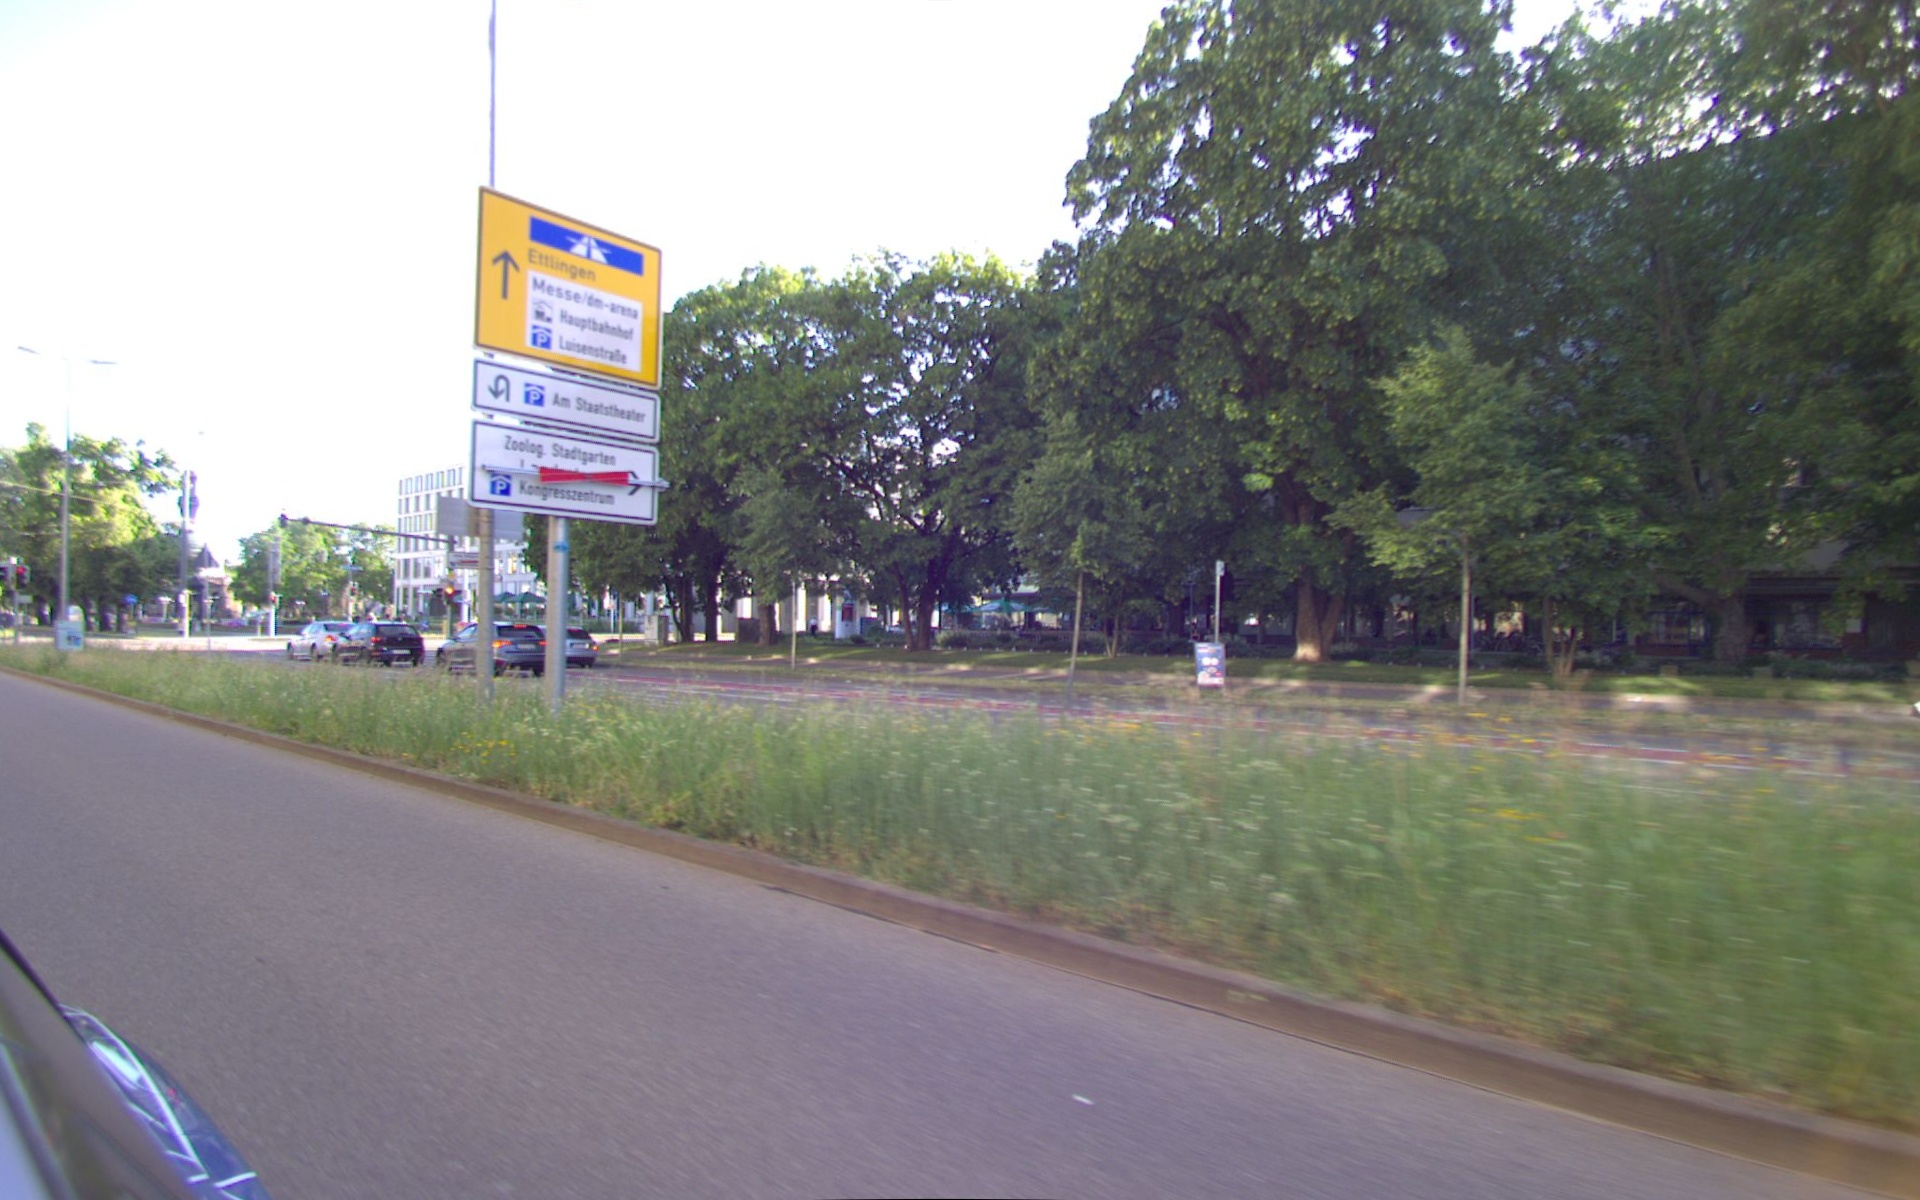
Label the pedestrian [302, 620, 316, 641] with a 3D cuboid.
[{"bbox_3d":[-46.704,2.177,72.595,0.602,1.537,0.616,-1,-2,36],"label":"pedestrian"}]

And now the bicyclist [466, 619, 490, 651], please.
[{"bbox_3d":[-26.867,1.943,56.412,0.775,1.703,0.913,1,-2,41],"label":"bicyclist"}]

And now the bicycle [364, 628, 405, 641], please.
[{"bbox_3d":[-39.054,2.342,68.699,0.843,0.858,2.304,-1,-2,41],"label":"bicycle"}]

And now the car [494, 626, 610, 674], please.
[{"bbox_3d":[-14.225,1.703,35.177,4.586,1.538,1.912,-1,-3,42],"label":"car"}]

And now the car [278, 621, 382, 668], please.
[{"bbox_3d":[-22.926,1.572,36.742,4.547,1.572,1.972,-1,-2,41],"label":"car"}]

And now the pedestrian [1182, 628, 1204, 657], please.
[{"bbox_3d":[11.141,2.030,48.416,0.665,1.350,0.895,-1,-2,44],"label":"pedestrian"}]

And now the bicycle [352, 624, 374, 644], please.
[{"bbox_3d":[-37.227,2.110,63.105,0.832,1.240,2.021,1,-2,-20],"label":"bicycle"}]

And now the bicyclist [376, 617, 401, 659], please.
[{"bbox_3d":[-23.028,1.525,40.778,0.771,1.692,0.841,3,-3,-35],"label":"bicyclist"}]

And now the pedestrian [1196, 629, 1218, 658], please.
[{"bbox_3d":[11.695,2.029,47.857,0.716,1.350,0.817,-1,-2,44],"label":"pedestrian"}]

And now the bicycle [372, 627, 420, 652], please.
[{"bbox_3d":[-28.981,2.024,52.044,0.778,1.249,1.993,1,-1,40],"label":"bicycle"}]

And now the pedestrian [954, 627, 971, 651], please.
[{"bbox_3d":[0.149,2.205,57.906,0.599,1.350,0.723,-1,-2,44],"label":"pedestrian"}]

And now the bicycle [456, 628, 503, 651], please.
[{"bbox_3d":[-26.807,2.226,56.490,0.778,1.249,2.281,-4,-5,40],"label":"bicycle"}]

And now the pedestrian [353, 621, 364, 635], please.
[{"bbox_3d":[-65.195,3.054,109.680,0.762,1.537,0.774,-1,-2,41],"label":"pedestrian"}]

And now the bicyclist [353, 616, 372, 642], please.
[{"bbox_3d":[-37.214,1.819,63.074,0.837,1.631,0.976,1,-2,-20],"label":"bicyclist"}]

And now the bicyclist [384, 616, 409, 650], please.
[{"bbox_3d":[-28.975,1.695,52.038,0.754,1.756,0.827,1,-1,41],"label":"bicyclist"}]

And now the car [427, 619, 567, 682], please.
[{"bbox_3d":[-12.619,1.314,27.498,4.059,1.576,1.972,-1,-2,41],"label":"car"}]

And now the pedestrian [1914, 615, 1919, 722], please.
[{"bbox_3d":[16.221,1.124,16.625,0.761,1.754,0.762,-1,-2,45],"label":"pedestrian"}]

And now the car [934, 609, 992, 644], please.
[{"bbox_3d":[0.315,2.333,89.812,2.597,2.975,5.023,-1,-2,38],"label":"car"}]

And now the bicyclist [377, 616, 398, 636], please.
[{"bbox_3d":[-38.939,1.776,68.839,0.826,1.372,0.959,-1,-2,42],"label":"bicyclist"}]

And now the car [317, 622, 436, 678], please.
[{"bbox_3d":[-18.958,1.573,32.795,4.547,1.688,1.972,-1,-2,41],"label":"car"}]
